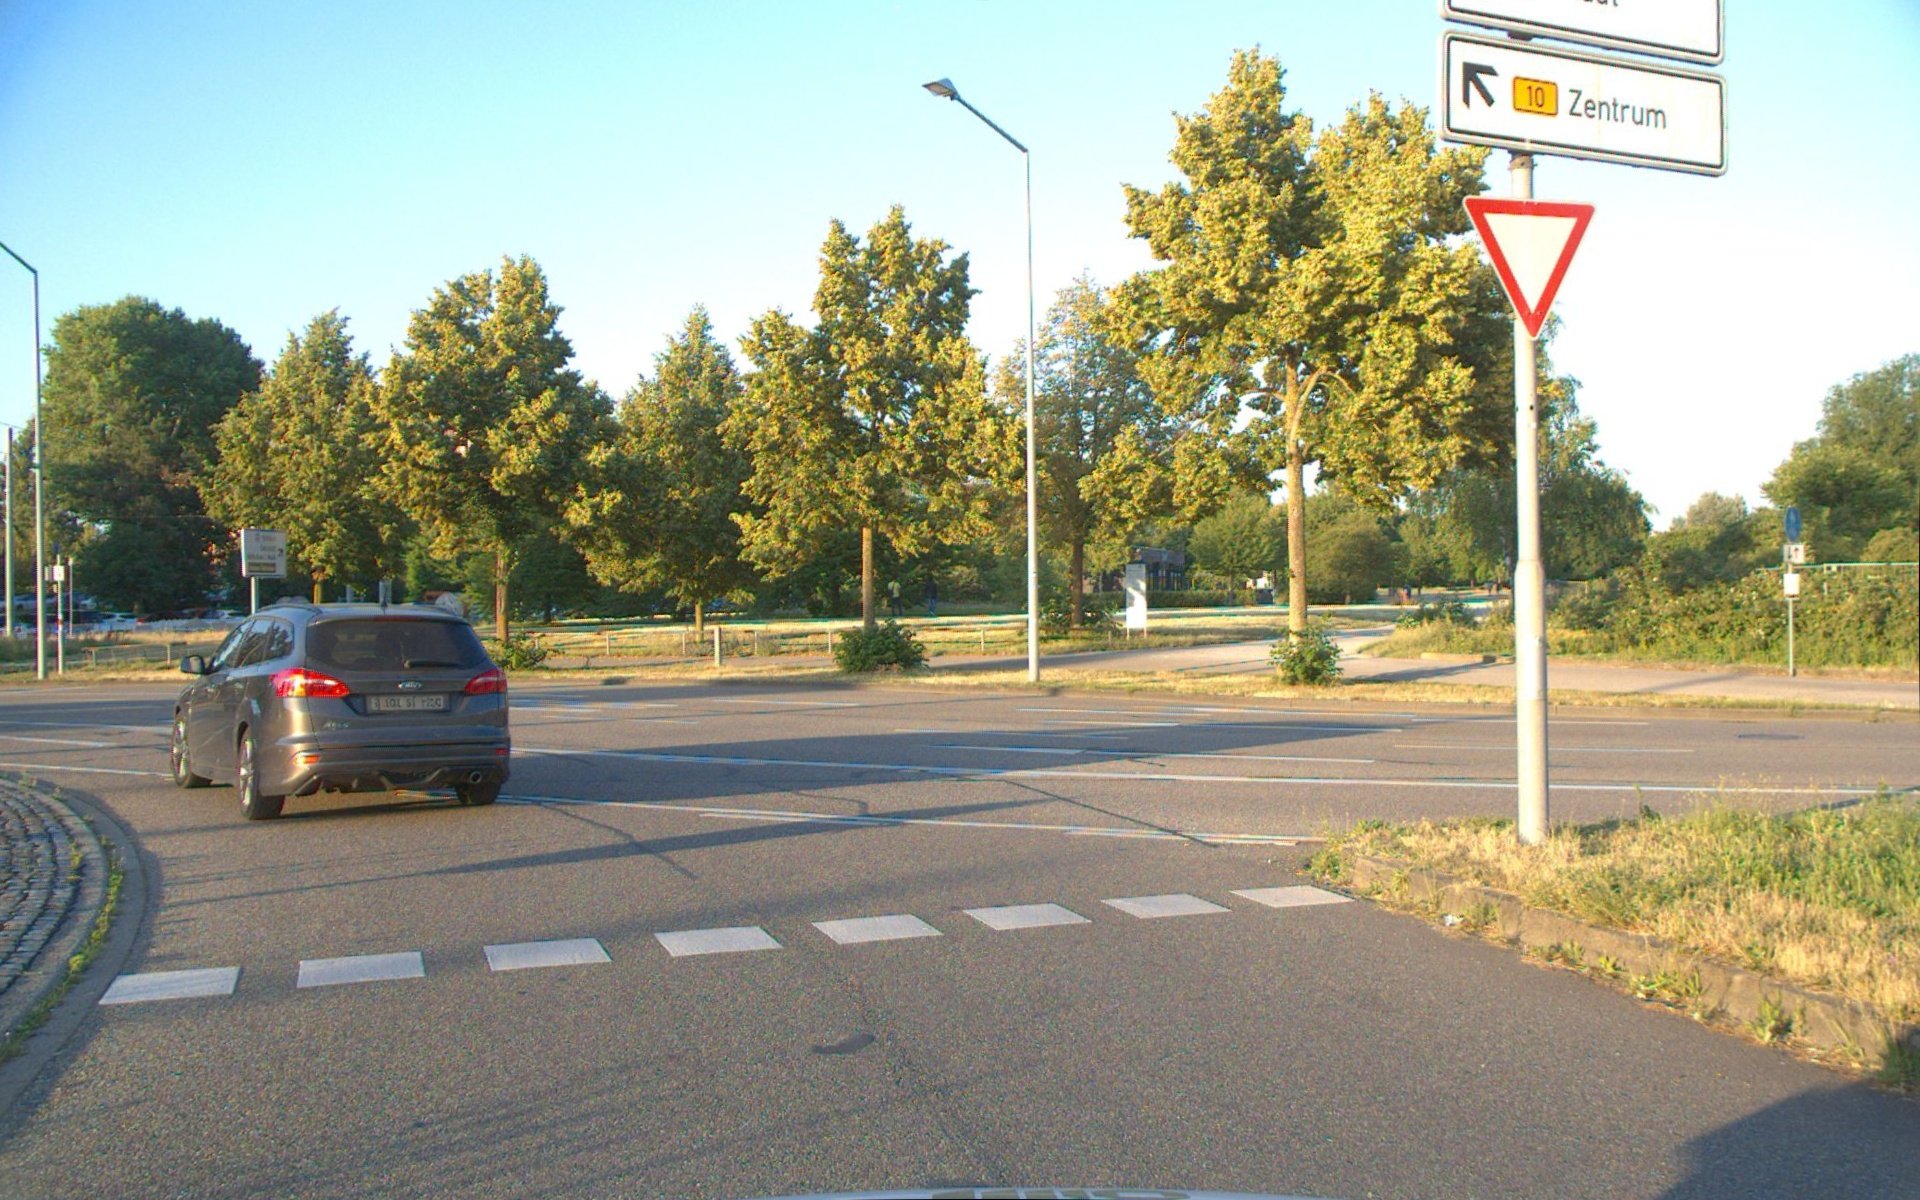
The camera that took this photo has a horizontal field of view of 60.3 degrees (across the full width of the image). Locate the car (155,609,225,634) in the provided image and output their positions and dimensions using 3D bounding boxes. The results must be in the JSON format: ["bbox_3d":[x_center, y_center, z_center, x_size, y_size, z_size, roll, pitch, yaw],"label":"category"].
[{"bbox_3d":[-51.569,1.444,110.742,3.903,1.578,2.001,-1,0,17],"label":"car"}]

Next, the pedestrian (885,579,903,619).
[{"bbox_3d":[-2.794,-0.035,69.941,0.573,1.655,0.527,-1,0,-30],"label":"pedestrian"}]

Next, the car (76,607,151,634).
[{"bbox_3d":[-53.372,1.298,104.281,3.903,1.578,2.001,-1,0,17],"label":"car"}]

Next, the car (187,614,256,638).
[{"bbox_3d":[-50.453,1.779,113.024,3.903,1.578,2.001,-1,0,17],"label":"car"}]

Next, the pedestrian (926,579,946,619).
[{"bbox_3d":[-1.023,-0.054,69.857,0.615,1.655,0.522,-1,0,-41],"label":"pedestrian"}]

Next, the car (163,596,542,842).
[{"bbox_3d":[-4.762,0.752,12.594,1.731,1.492,4.084,-2,1,-35],"label":"car"}]
